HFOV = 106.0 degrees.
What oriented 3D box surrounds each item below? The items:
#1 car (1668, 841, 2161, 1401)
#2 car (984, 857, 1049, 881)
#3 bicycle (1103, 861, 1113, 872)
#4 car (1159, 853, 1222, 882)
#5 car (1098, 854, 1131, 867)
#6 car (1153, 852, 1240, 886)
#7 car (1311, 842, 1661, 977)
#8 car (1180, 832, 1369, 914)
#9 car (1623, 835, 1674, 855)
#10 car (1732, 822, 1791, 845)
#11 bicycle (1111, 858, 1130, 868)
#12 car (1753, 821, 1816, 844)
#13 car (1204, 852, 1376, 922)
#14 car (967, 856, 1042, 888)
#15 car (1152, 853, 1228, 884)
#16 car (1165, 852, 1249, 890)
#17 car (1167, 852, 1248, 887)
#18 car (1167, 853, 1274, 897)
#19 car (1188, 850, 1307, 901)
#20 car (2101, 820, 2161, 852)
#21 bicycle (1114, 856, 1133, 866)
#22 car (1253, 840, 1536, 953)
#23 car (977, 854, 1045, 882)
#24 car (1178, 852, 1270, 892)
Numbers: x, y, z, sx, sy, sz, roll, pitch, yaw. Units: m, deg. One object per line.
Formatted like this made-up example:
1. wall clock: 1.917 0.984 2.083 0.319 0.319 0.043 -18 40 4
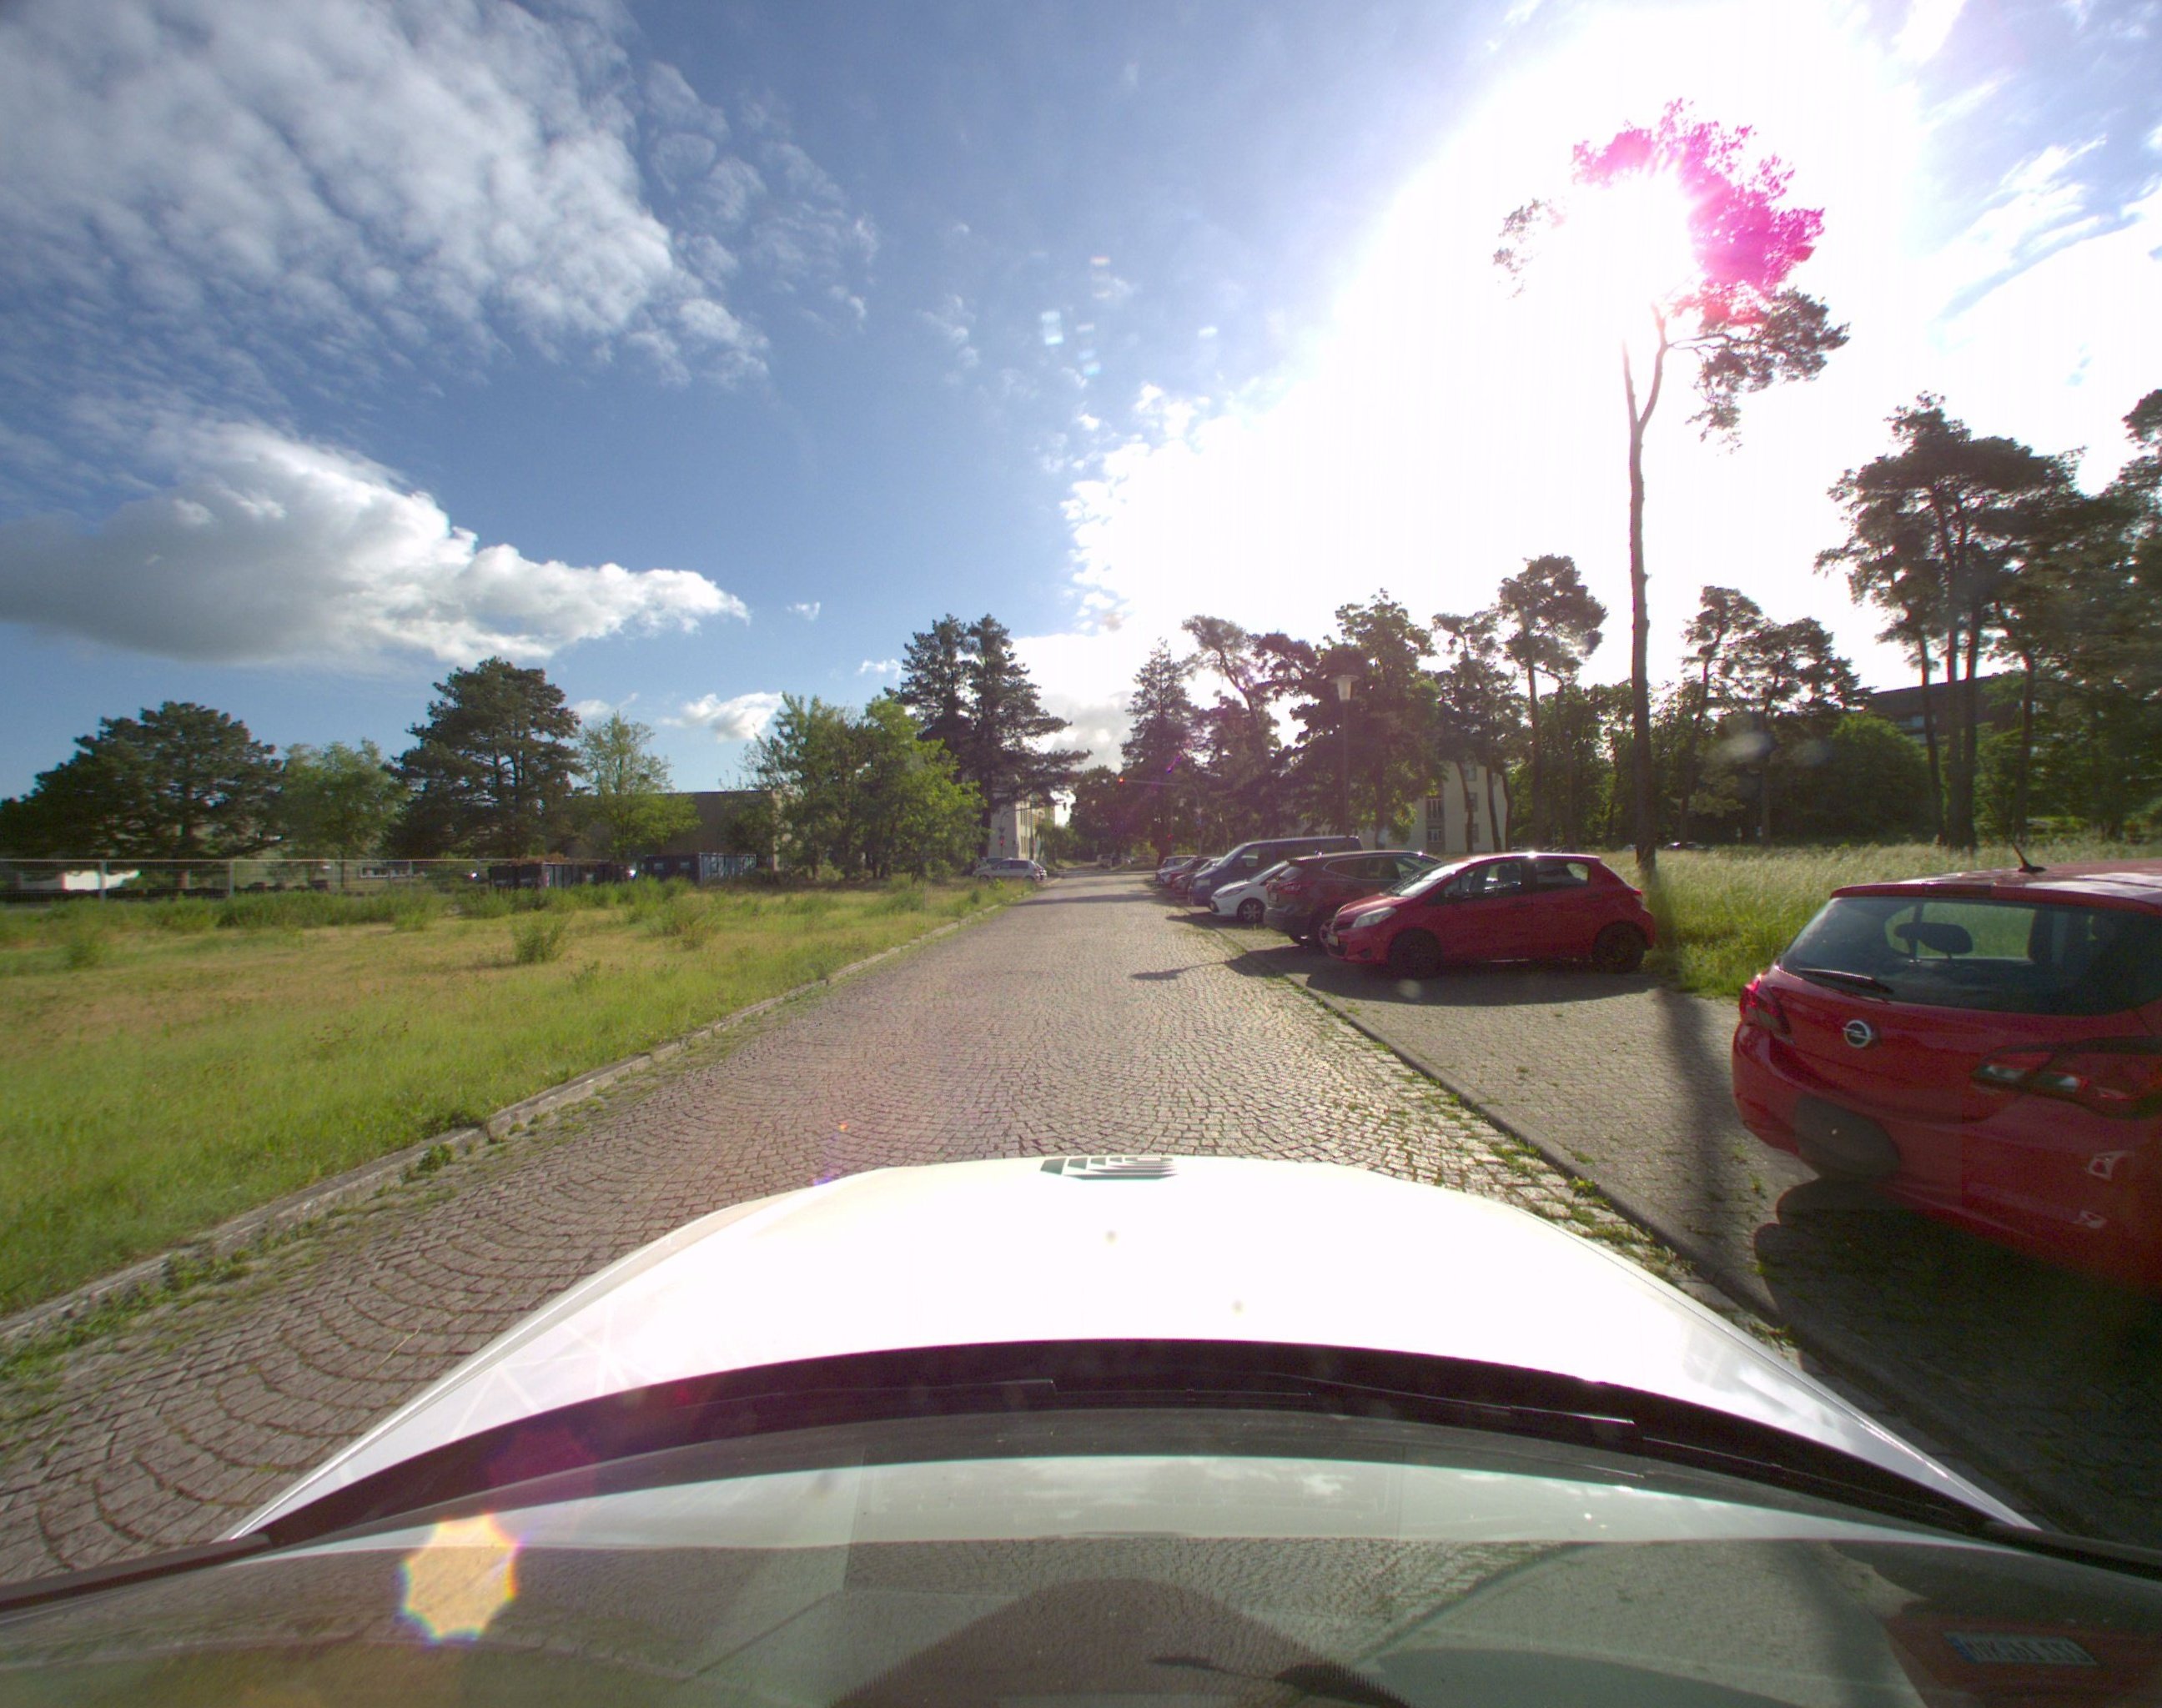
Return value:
1. car: 4.722 0.693 3.048 3.813 1.478 1.646 -2 0 1
2. car: -4.185 0.969 53.287 3.973 1.453 2.000 1 0 1
3. bicycle: 3.009 1.439 91.670 0.803 1.169 2.177 -3 0 -4
4. car: 6.153 0.742 46.045 3.332 1.483 1.645 -2 0 0
5. car: 4.657 0.896 112.584 4.464 1.728 2.000 -1 0 1
6. car: 5.731 0.741 40.639 4.024 1.529 1.644 -2 0 -2
7. car: 5.113 0.675 10.655 3.749 1.530 1.646 -2 0 1
8. car: 5.224 0.497 22.425 4.664 2.013 2.082 -2 0 -2
9. car: 60.760 -0.958 87.246 3.972 2.013 2.001 -2 0 1
10. car: 64.650 -1.960 77.414 3.972 2.013 2.001 -2 0 1
11. bicycle: 4.607 1.042 95.101 2.172 1.100 0.805 -1 0 -8
12. car: 64.699 -1.947 74.959 3.972 2.013 2.001 -2 0 1
13. car: 4.979 0.759 19.748 3.708 1.488 1.645 -2 0 -1
14. car: -4.222 0.994 45.492 3.975 1.600 1.999 -2 0 -1
15. car: 5.768 0.769 43.411 3.823 1.529 1.645 -2 0 0
16. car: 5.531 0.736 36.101 3.466 1.529 1.645 -2 0 0
17. car: 5.950 0.730 38.554 3.591 1.529 1.645 -2 0 0
18. car: 5.168 0.765 30.495 3.663 1.467 1.645 -2 0 0
19. car: 5.590 0.700 27.596 3.680 1.465 1.646 -3 0 2
20. car: 69.132 -1.190 52.561 3.972 2.013 2.001 -2 0 1
21. bicycle: 5.074 0.842 96.542 2.172 1.100 0.805 -1 0 -8
22. car: 4.978 0.653 13.326 3.923 1.621 1.772 -2 0 0
23. car: -4.334 0.866 50.888 3.973 1.601 2.000 2 0 1
24. car: 5.826 0.724 33.401 3.466 1.529 1.645 -2 0 0
